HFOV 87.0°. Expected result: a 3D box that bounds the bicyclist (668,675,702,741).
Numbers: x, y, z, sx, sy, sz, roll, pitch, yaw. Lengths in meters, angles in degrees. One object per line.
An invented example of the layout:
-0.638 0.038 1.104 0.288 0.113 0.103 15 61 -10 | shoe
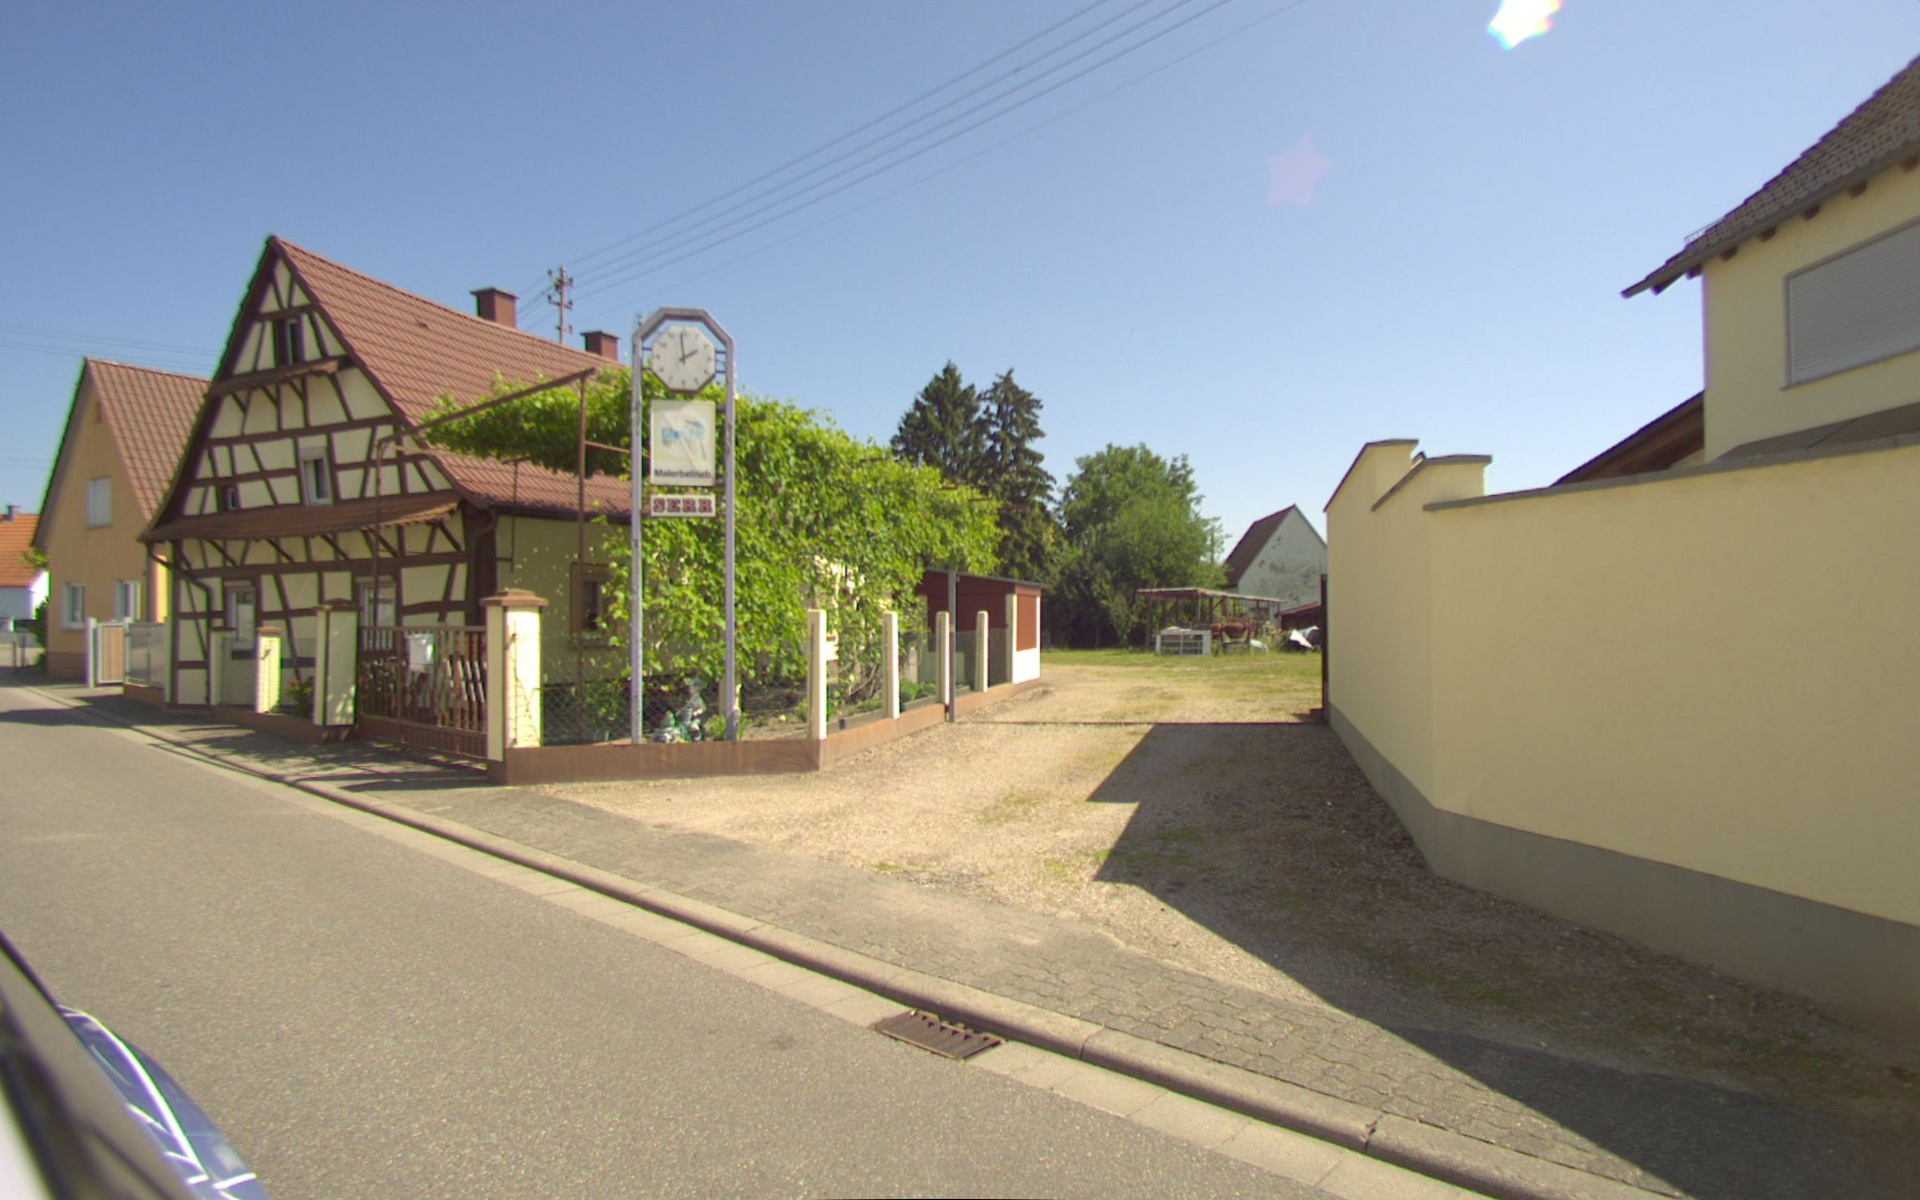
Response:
-2.578 1.006 9.483 0.243 0.586 0.219 0 0 -34 | bicyclist

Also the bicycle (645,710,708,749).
-2.643 1.200 9.438 0.526 0.307 0.220 0 -1 -34 | bicycle
